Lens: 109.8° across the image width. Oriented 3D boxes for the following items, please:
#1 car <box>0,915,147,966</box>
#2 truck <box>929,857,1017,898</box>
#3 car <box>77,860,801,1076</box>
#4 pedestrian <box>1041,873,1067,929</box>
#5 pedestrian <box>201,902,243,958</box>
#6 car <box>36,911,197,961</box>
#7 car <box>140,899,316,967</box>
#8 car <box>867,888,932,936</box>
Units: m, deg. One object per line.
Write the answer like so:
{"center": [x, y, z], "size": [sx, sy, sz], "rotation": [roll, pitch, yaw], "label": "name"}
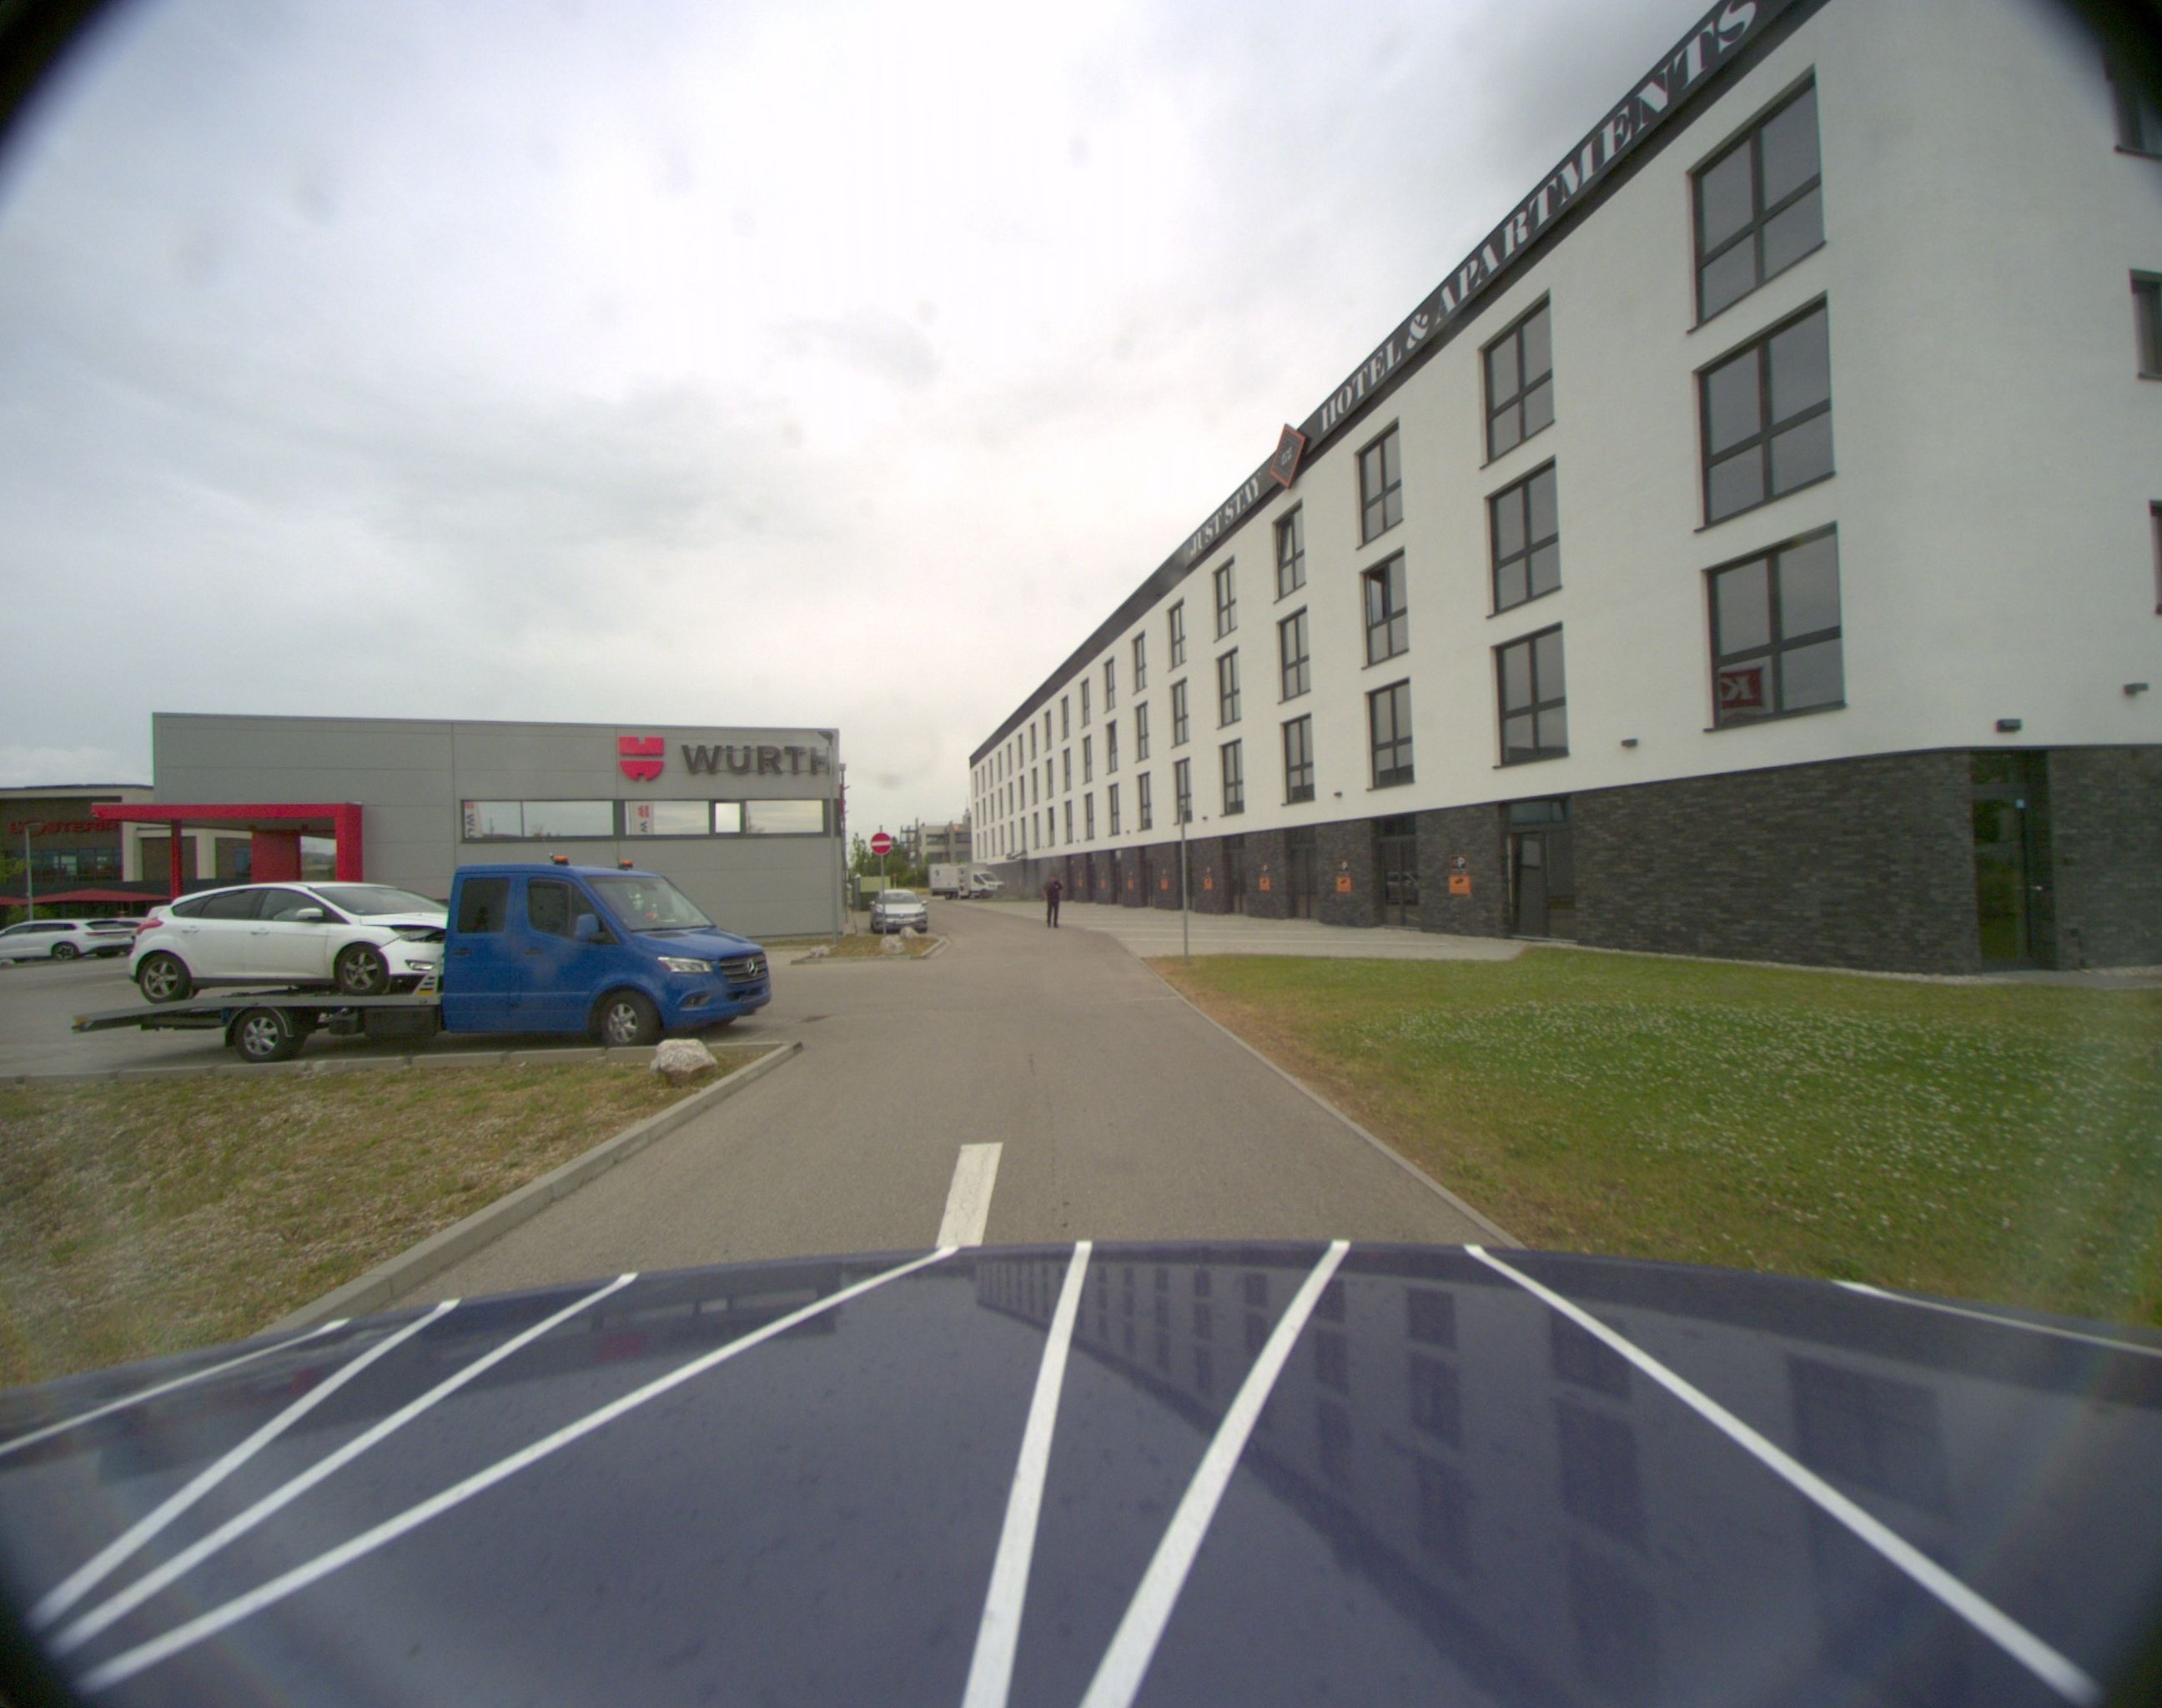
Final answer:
{"center": [-42.150, 3.541, 31.111], "size": [4.744, 1.738, 1.756], "rotation": [-2, -1, -15], "label": "car"}
{"center": [-8.808, 1.928, 61.573], "size": [7.051, 2.998, 2.441], "rotation": [-3, 0, 34], "label": "truck"}
{"center": [-7.918, 1.374, 9.774], "size": [7.847, 2.308, 2.202], "rotation": [-2, -1, 6], "label": "car"}
{"center": [-0.905, 1.564, 25.382], "size": [0.710, 1.811, 0.812], "rotation": [-2, -1, -11], "label": "pedestrian"}
{"center": [-28.450, 2.503, 25.174], "size": [0.659, 1.797, 0.649], "rotation": [-1, -1, -14], "label": "pedestrian"}
{"center": [-42.812, 3.612, 33.850], "size": [4.002, 1.848, 1.998], "rotation": [-2, -1, -15], "label": "car"}
{"center": [-29.450, 2.685, 26.359], "size": [3.677, 1.967, 1.674], "rotation": [-2, 0, -16], "label": "car"}
{"center": [-6.459, 2.015, 27.495], "size": [1.981, 1.482, 4.767], "rotation": [0, -1, -10], "label": "car"}
